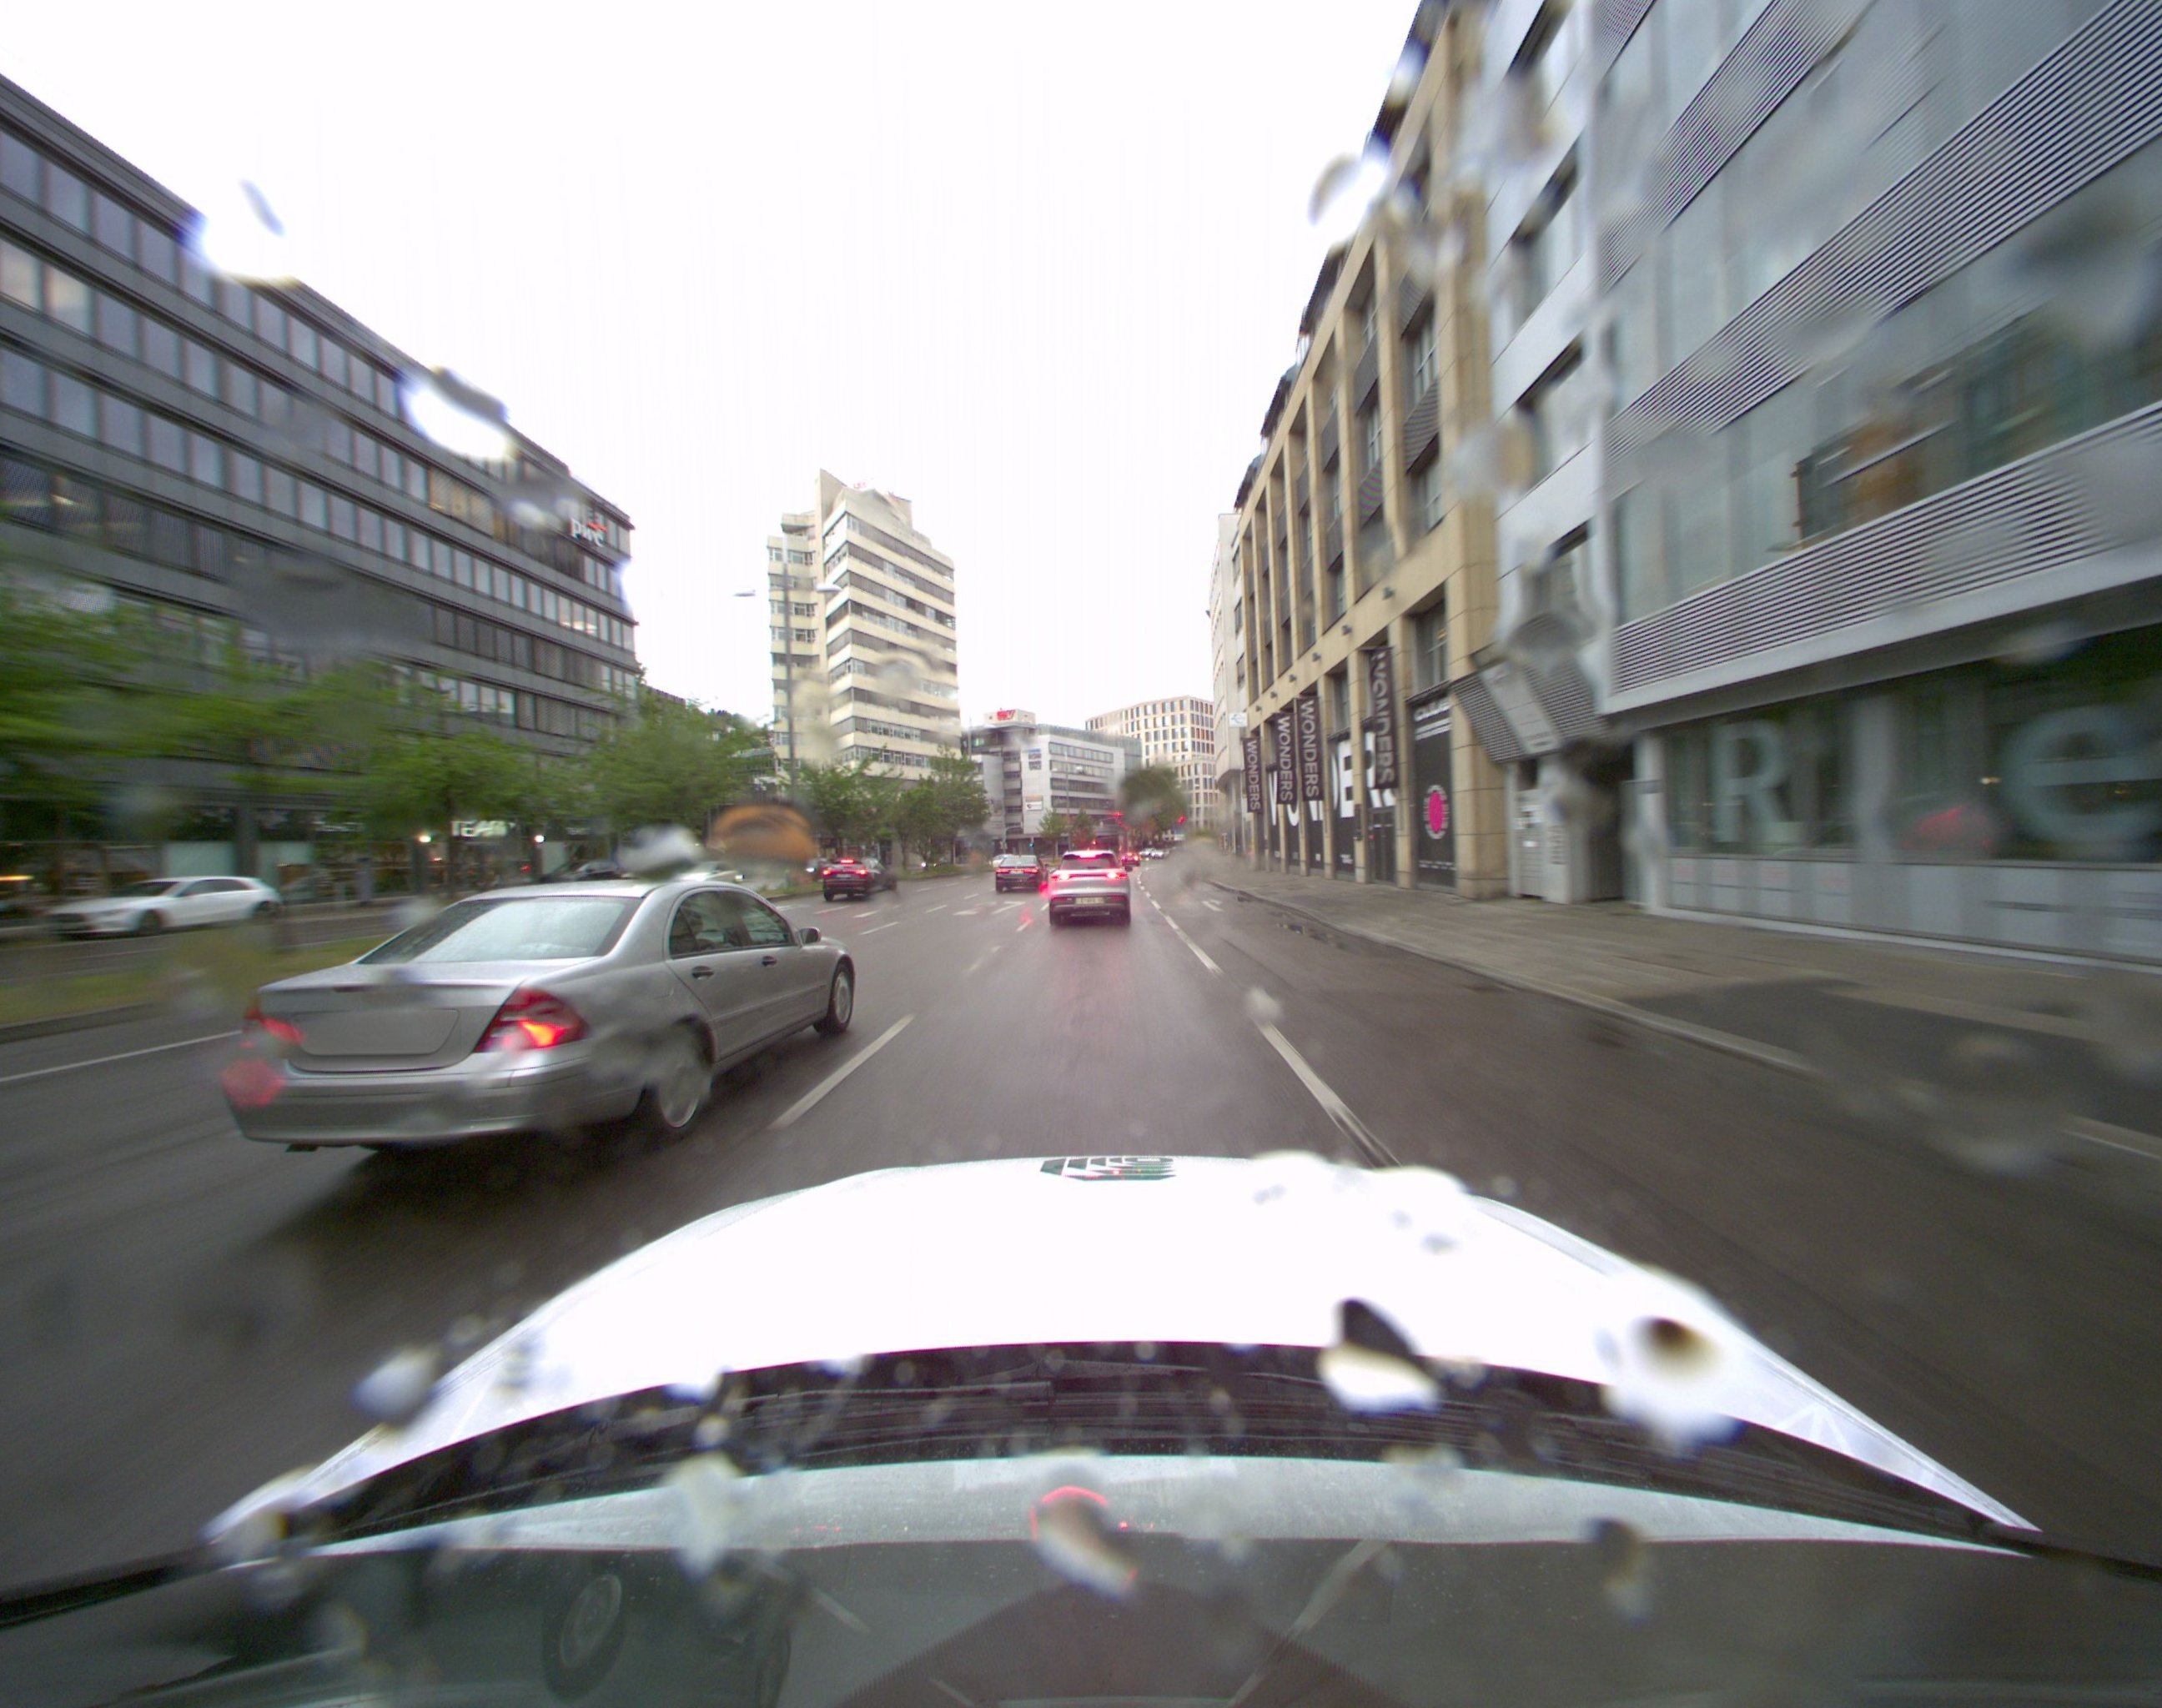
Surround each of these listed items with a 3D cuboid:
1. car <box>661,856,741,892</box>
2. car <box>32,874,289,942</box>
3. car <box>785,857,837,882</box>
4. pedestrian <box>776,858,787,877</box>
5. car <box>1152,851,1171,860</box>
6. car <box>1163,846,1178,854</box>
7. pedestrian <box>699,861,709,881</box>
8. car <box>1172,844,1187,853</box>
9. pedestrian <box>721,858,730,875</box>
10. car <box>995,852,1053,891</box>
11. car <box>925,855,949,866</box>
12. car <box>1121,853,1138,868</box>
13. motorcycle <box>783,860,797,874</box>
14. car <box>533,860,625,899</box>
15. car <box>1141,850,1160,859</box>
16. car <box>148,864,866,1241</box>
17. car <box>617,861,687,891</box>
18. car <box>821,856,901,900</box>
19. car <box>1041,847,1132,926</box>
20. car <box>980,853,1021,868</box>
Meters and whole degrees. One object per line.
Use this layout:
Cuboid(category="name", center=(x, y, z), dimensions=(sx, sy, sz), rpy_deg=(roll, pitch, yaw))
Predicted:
Cuboid(category="car", center=(-17.394, 0.881, 37.528), dimensions=(1.618, 1.492, 4.306), rpy_deg=(-2, 0, 0))
Cuboid(category="car", center=(-23.677, 1.326, 21.254), dimensions=(1.618, 1.432, 4.445), rpy_deg=(-2, 0, 0))
Cuboid(category="car", center=(-16.933, 0.925, 51.180), dimensions=(1.616, 1.453, 4.165), rpy_deg=(-2, 0, 3))
Cuboid(category="pedestrian", center=(-28.174, 1.262, 76.616), dimensions=(0.757, 1.713, 0.587), rpy_deg=(-2, 0, -36))
Cuboid(category="car", center=(14.063, 0.248, 142.294), dimensions=(1.565, 1.538, 4.026), rpy_deg=(-1, 0, 32))
Cuboid(category="car", center=(18.687, -0.916, 169.755), dimensions=(1.565, 1.538, 4.026), rpy_deg=(-1, 0, 32))
Cuboid(category="pedestrian", center=(-29.456, 1.336, 63.682), dimensions=(0.606, 1.503, 0.432), rpy_deg=(-2, 0, -36))
Cuboid(category="car", center=(21.390, -1.232, 176.804), dimensions=(1.839, 1.736, 4.026), rpy_deg=(-1, 0, 32))
Cuboid(category="pedestrian", center=(-33.219, 1.172, 76.185), dimensions=(0.670, 1.503, 0.432), rpy_deg=(-2, 0, -36))
Cuboid(category="car", center=(-2.339, 0.693, 34.537), dimensions=(1.865, 1.479, 4.881), rpy_deg=(-2, 0, 2))
Cuboid(category="car", center=(-15.516, 0.719, 87.970), dimensions=(1.573, 1.090, 4.005), rpy_deg=(-2, 0, 4))
Cuboid(category="car", center=(5.432, 0.741, 90.603), dimensions=(1.803, 1.578, 4.006), rpy_deg=(-2, 0, 5))
Cuboid(category="motorcycle", center=(-29.035, 1.300, 81.200), dimensions=(0.709, 1.332, 1.800), rpy_deg=(-2, 0, -42))
Cuboid(category="car", center=(-23.239, 1.133, 37.865), dimensions=(1.618, 1.611, 4.232), rpy_deg=(-1, 0, 0))
Cuboid(category="car", center=(13.131, 0.104, 153.737), dimensions=(1.565, 1.538, 4.026), rpy_deg=(-1, 0, 38))
Cuboid(category="car", center=(-2.961, 0.849, 5.550), dimensions=(1.666, 1.479, 4.362), rpy_deg=(-1, 0, 2))
Cuboid(category="car", center=(-23.031, 1.145, 43.900), dimensions=(1.618, 1.460, 3.963), rpy_deg=(-1, 0, 0))
Cuboid(category="car", center=(-8.049, 0.835, 30.121), dimensions=(1.768, 1.457, 4.000), rpy_deg=(-2, 0, 0))
Cuboid(category="car", center=(0.189, 0.681, 19.228), dimensions=(1.894, 1.621, 4.002), rpy_deg=(-1, 0, 2))
Cuboid(category="car", center=(-7.768, 0.607, 78.303), dimensions=(3.948, 1.342, 1.669), rpy_deg=(-1, 0, 40))
